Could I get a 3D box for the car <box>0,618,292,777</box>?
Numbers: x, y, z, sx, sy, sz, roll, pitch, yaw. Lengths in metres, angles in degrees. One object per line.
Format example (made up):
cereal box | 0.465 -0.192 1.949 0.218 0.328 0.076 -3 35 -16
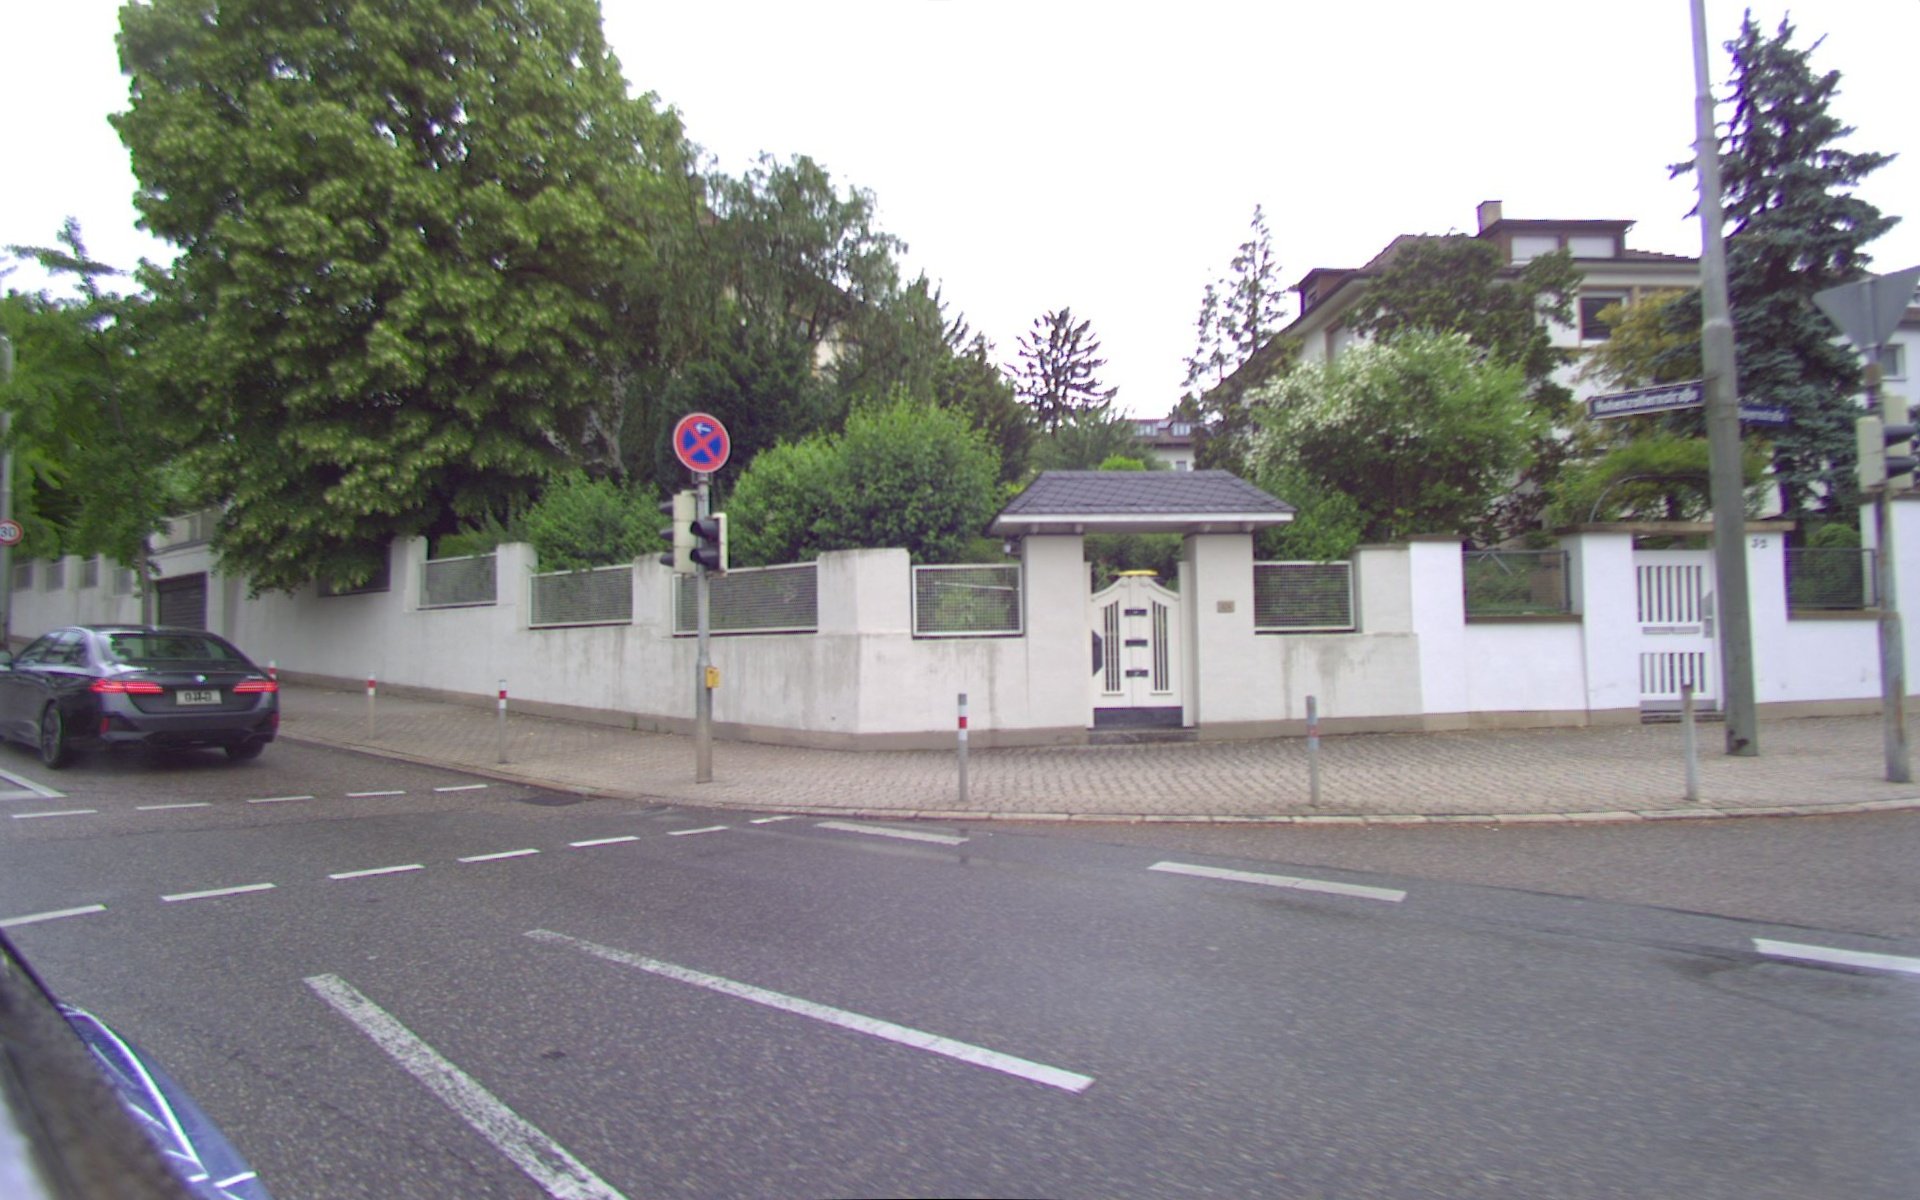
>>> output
car | -10.059 0.990 11.850 5.353 1.497 1.837 -1 -3 34
